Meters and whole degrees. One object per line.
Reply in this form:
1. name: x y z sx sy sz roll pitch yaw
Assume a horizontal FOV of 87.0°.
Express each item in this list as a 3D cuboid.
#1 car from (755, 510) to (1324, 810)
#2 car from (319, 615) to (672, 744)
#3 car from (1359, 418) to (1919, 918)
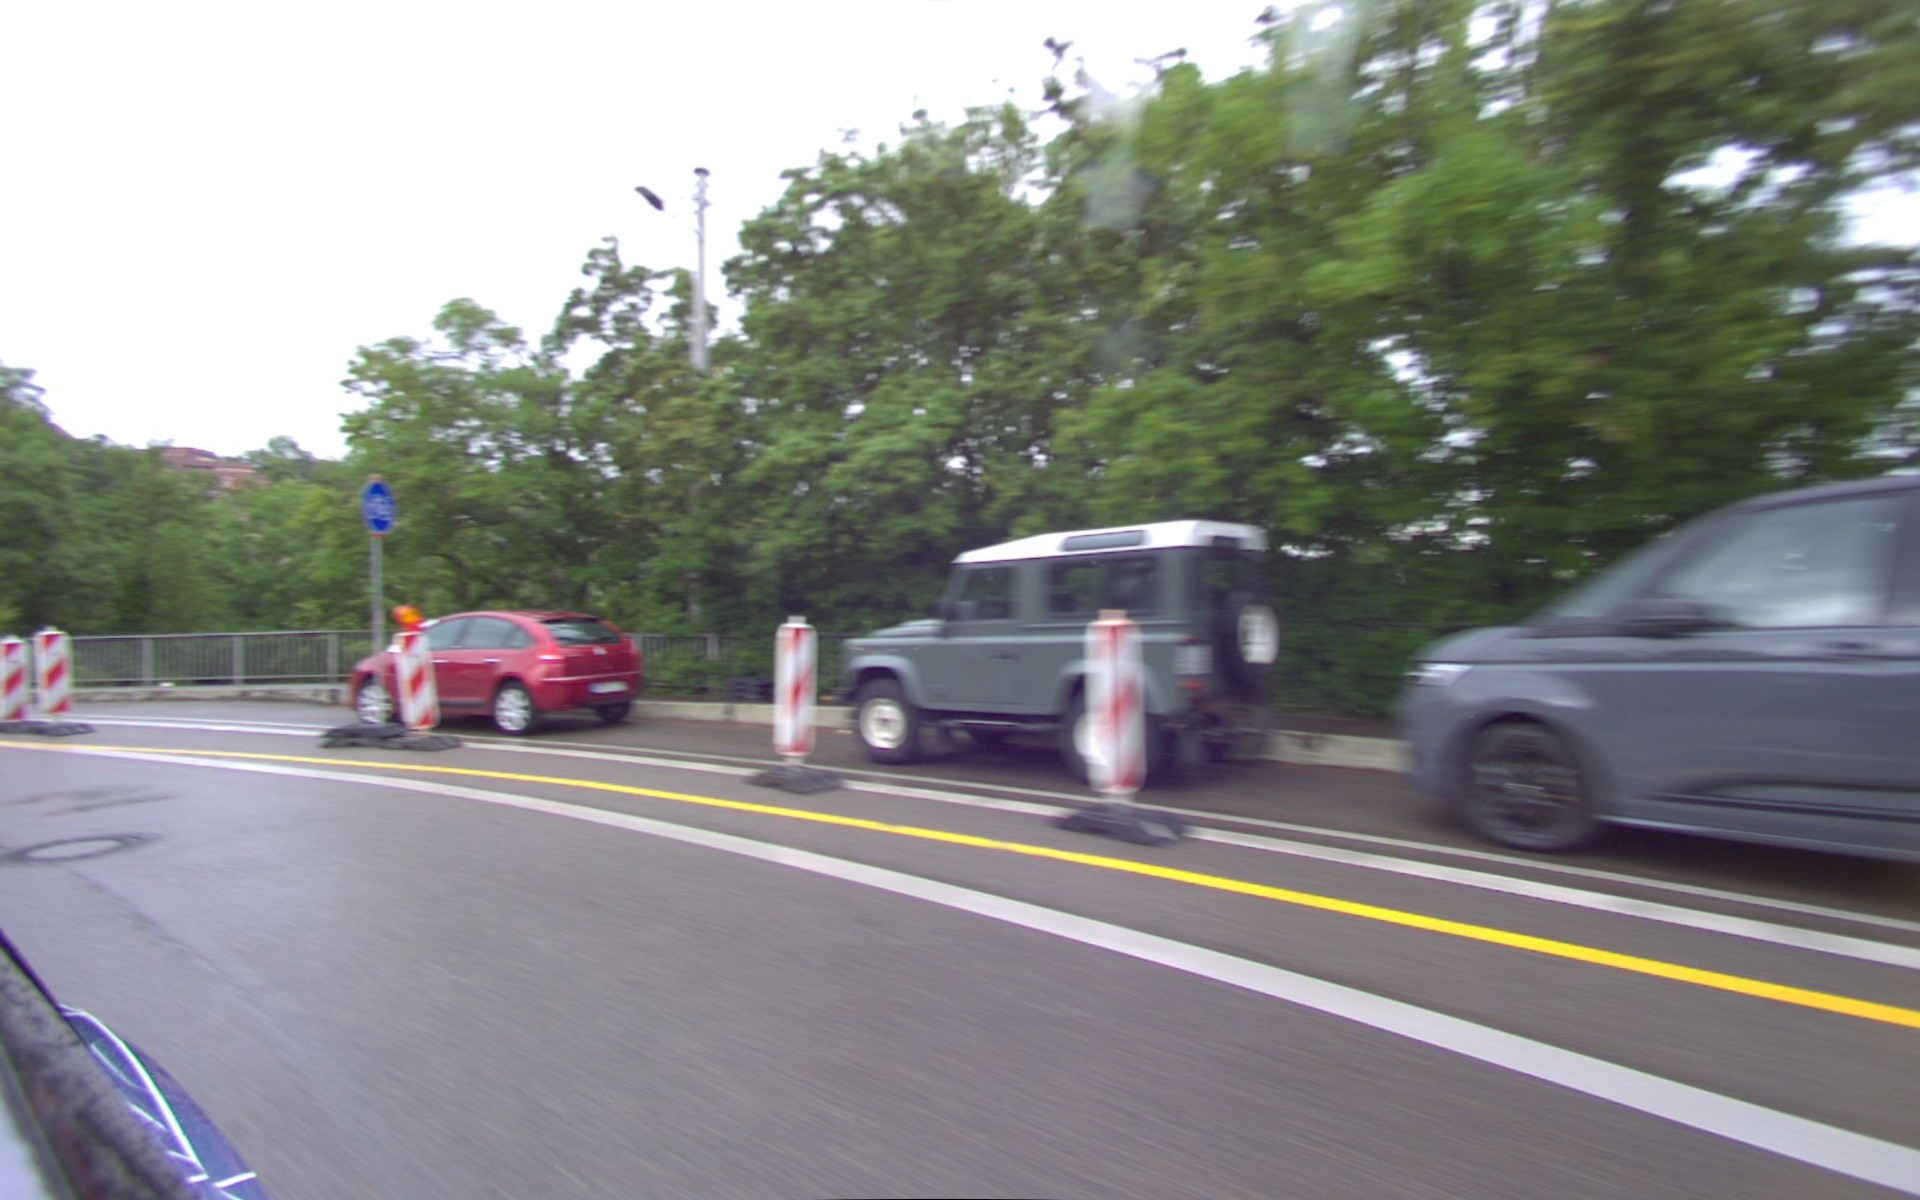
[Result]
1. car: 0.508 0.484 9.040 4.804 2.029 1.848 -2 -1 37
2. car: -6.097 0.969 13.244 4.299 1.451 1.949 -2 -2 26
3. car: 4.690 0.262 4.678 1.968 2.029 4.959 -1 0 -37
